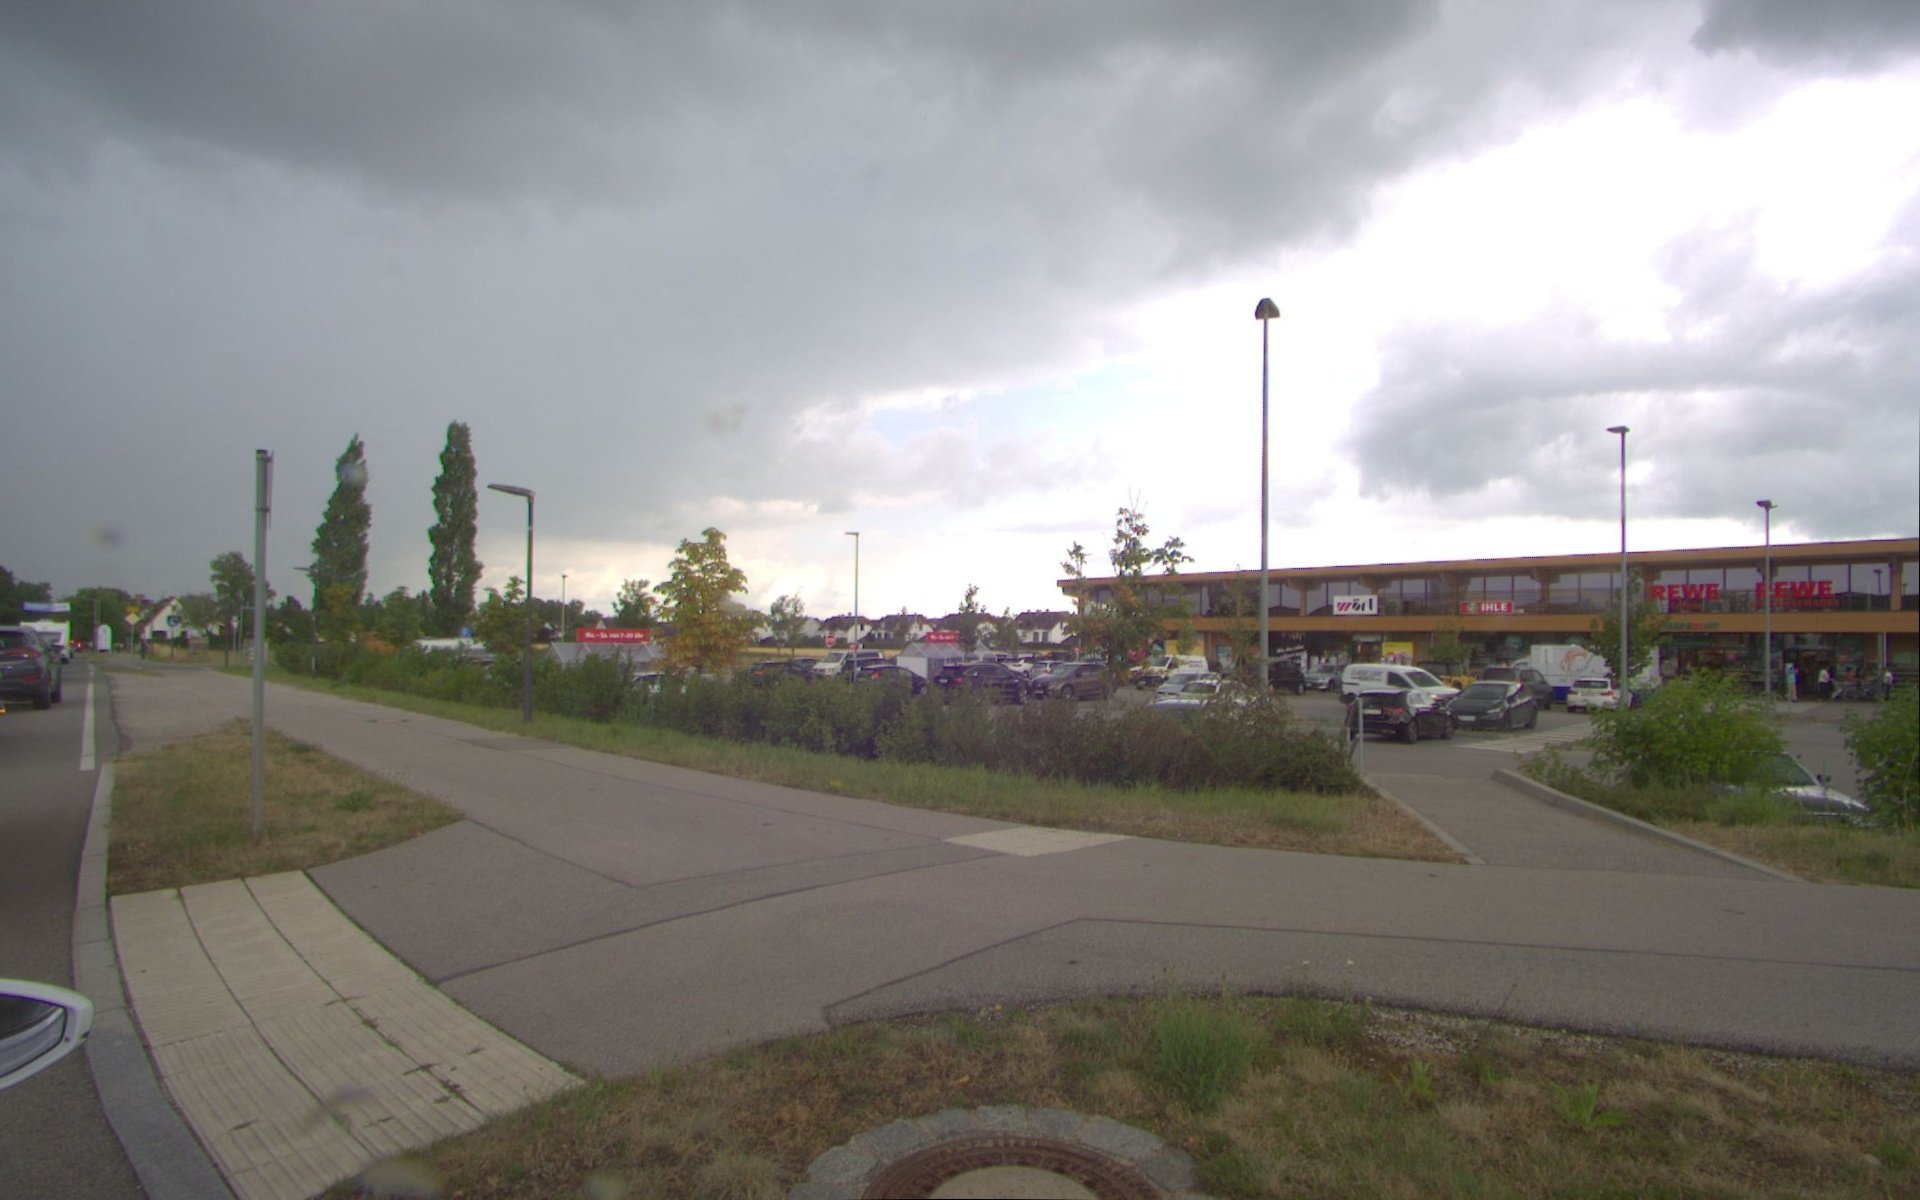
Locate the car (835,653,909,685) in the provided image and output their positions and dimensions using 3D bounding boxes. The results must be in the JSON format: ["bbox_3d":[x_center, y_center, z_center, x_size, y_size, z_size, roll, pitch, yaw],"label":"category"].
[{"bbox_3d":[-4.926,3.891,56.460,3.960,1.727,1.701,3,-4,-42],"label":"car"}]

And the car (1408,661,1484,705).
[{"bbox_3d":[22.087,3.719,45.427,3.960,1.877,1.757,3,-4,-42],"label":"car"}]

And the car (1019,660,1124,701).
[{"bbox_3d":[5.095,3.590,45.376,4.940,1.685,1.982,3,-3,-42],"label":"car"}]

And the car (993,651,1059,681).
[{"bbox_3d":[4.293,4.282,64.850,3.954,1.861,1.985,3,-3,-38],"label":"car"}]

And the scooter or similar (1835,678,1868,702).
[{"bbox_3d":[43.433,4.396,48.805,0.985,1.140,0.793,1,-4,22],"label":"scooter or similar"}]

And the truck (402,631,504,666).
[{"bbox_3d":[-28.939,2.822,57.272,1.980,1.895,4.770,-2,-4,44],"label":"truck"}]

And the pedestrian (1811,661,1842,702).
[{"bbox_3d":[42.579,4.003,49.200,0.913,1.921,0.793,1,-4,22],"label":"pedestrian"}]

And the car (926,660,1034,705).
[{"bbox_3d":[0.879,3.380,41.450,4.421,1.727,1.788,4,-4,-42],"label":"car"}]

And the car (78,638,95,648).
[{"bbox_3d":[-114.374,5.628,131.185,1.601,1.288,3.432,3,-3,-40],"label":"car"}]

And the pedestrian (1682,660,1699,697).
[{"bbox_3d":[39.944,4.298,54.753,0.516,1.973,0.578,1,-2,-15],"label":"pedestrian"}]

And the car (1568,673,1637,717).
[{"bbox_3d":[26.073,3.804,40.585,1.713,1.549,3.967,-1,-3,43],"label":"car"}]

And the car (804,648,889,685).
[{"bbox_3d":[-6.645,3.884,59.267,1.975,2.039,5.090,0,-2,38],"label":"car"}]

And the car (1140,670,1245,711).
[{"bbox_3d":[9.686,3.695,41.494,4.741,1.503,1.887,3,-3,-42],"label":"car"}]

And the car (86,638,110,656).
[{"bbox_3d":[-80.119,4.369,93.102,1.601,1.651,3.586,3,-3,-40],"label":"car"}]

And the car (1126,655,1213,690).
[{"bbox_3d":[11.693,4.001,55.693,5.250,1.853,1.983,4,-4,-42],"label":"car"}]

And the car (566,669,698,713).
[{"bbox_3d":[-12.025,3.302,36.842,4.203,1.458,1.983,3,-3,-41],"label":"car"}]

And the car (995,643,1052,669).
[{"bbox_3d":[4.697,4.126,73.971,3.954,1.863,1.861,2,-3,-38],"label":"car"}]

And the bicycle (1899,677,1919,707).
[{"bbox_3d":[44.677,4.211,45.529,0.970,1.325,2.844,2,-3,-42],"label":"bicycle"}]

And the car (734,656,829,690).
[{"bbox_3d":[-9.285,3.782,52.383,4.525,1.685,1.983,3,-3,-41],"label":"car"}]

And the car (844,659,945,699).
[{"bbox_3d":[-2.966,3.605,46.163,4.373,1.685,1.983,3,-3,-41],"label":"car"}]

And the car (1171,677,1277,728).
[{"bbox_3d":[8.692,3.309,32.766,1.666,1.503,3.962,-2,-4,44],"label":"car"}]

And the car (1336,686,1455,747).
[{"bbox_3d":[12.263,3.196,28.073,1.817,1.415,3.965,-1,-3,44],"label":"car"}]

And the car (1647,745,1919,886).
[{"bbox_3d":[11.699,2.980,14.483,1.551,1.389,3.733,0,-3,11],"label":"car"}]

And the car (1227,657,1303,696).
[{"bbox_3d":[15.816,3.969,51.904,3.962,1.859,1.983,6,-5,-42],"label":"car"}]

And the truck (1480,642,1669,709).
[{"bbox_3d":[28.945,3.465,47.386,7.183,2.842,2.951,-2,-3,44],"label":"truck"}]

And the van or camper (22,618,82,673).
[{"bbox_3d":[-58.134,2.950,64.221,2.607,3.364,6.763,3,-4,-41],"label":"van or camper"}]

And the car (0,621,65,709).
[{"bbox_3d":[-19.271,1.270,20.183,1.763,1.639,3.965,0,-1,-41],"label":"car"}]

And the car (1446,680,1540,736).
[{"bbox_3d":[17.022,3.381,31.915,1.713,1.572,3.967,-1,-3,43],"label":"car"}]

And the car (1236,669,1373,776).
[{"bbox_3d":[4.675,1.637,13.989,1.550,1.221,3.756,1,-4,15],"label":"car"}]

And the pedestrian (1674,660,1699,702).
[{"bbox_3d":[36.077,4.004,49.734,0.922,2.039,0.799,-1,-2,42],"label":"pedestrian"}]

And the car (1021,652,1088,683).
[{"bbox_3d":[5.975,4.214,62.850,3.956,1.860,1.985,3,-4,-39],"label":"car"}]

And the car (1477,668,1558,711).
[{"bbox_3d":[23.795,3.769,42.669,4.080,1.746,1.836,4,-5,-43],"label":"car"}]

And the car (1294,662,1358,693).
[{"bbox_3d":[20.283,4.259,55.409,1.750,1.632,4.188,-2,-4,45],"label":"car"}]

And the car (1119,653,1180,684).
[{"bbox_3d":[12.245,4.437,64.505,4.076,1.917,1.781,4,-4,-43],"label":"car"}]

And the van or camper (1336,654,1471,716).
[{"bbox_3d":[16.736,3.145,38.074,1.737,2.124,4.790,2,-3,-24],"label":"van or camper"}]

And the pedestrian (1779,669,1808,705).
[{"bbox_3d":[39.938,4.179,47.993,0.737,1.678,0.804,1,-2,-18],"label":"pedestrian"}]

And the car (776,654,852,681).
[{"bbox_3d":[-8.840,4.082,60.887,4.280,1.597,1.753,3,-3,-40],"label":"car"}]

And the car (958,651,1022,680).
[{"bbox_3d":[2.035,4.351,66.884,3.955,1.860,1.985,3,-3,-38],"label":"car"}]
